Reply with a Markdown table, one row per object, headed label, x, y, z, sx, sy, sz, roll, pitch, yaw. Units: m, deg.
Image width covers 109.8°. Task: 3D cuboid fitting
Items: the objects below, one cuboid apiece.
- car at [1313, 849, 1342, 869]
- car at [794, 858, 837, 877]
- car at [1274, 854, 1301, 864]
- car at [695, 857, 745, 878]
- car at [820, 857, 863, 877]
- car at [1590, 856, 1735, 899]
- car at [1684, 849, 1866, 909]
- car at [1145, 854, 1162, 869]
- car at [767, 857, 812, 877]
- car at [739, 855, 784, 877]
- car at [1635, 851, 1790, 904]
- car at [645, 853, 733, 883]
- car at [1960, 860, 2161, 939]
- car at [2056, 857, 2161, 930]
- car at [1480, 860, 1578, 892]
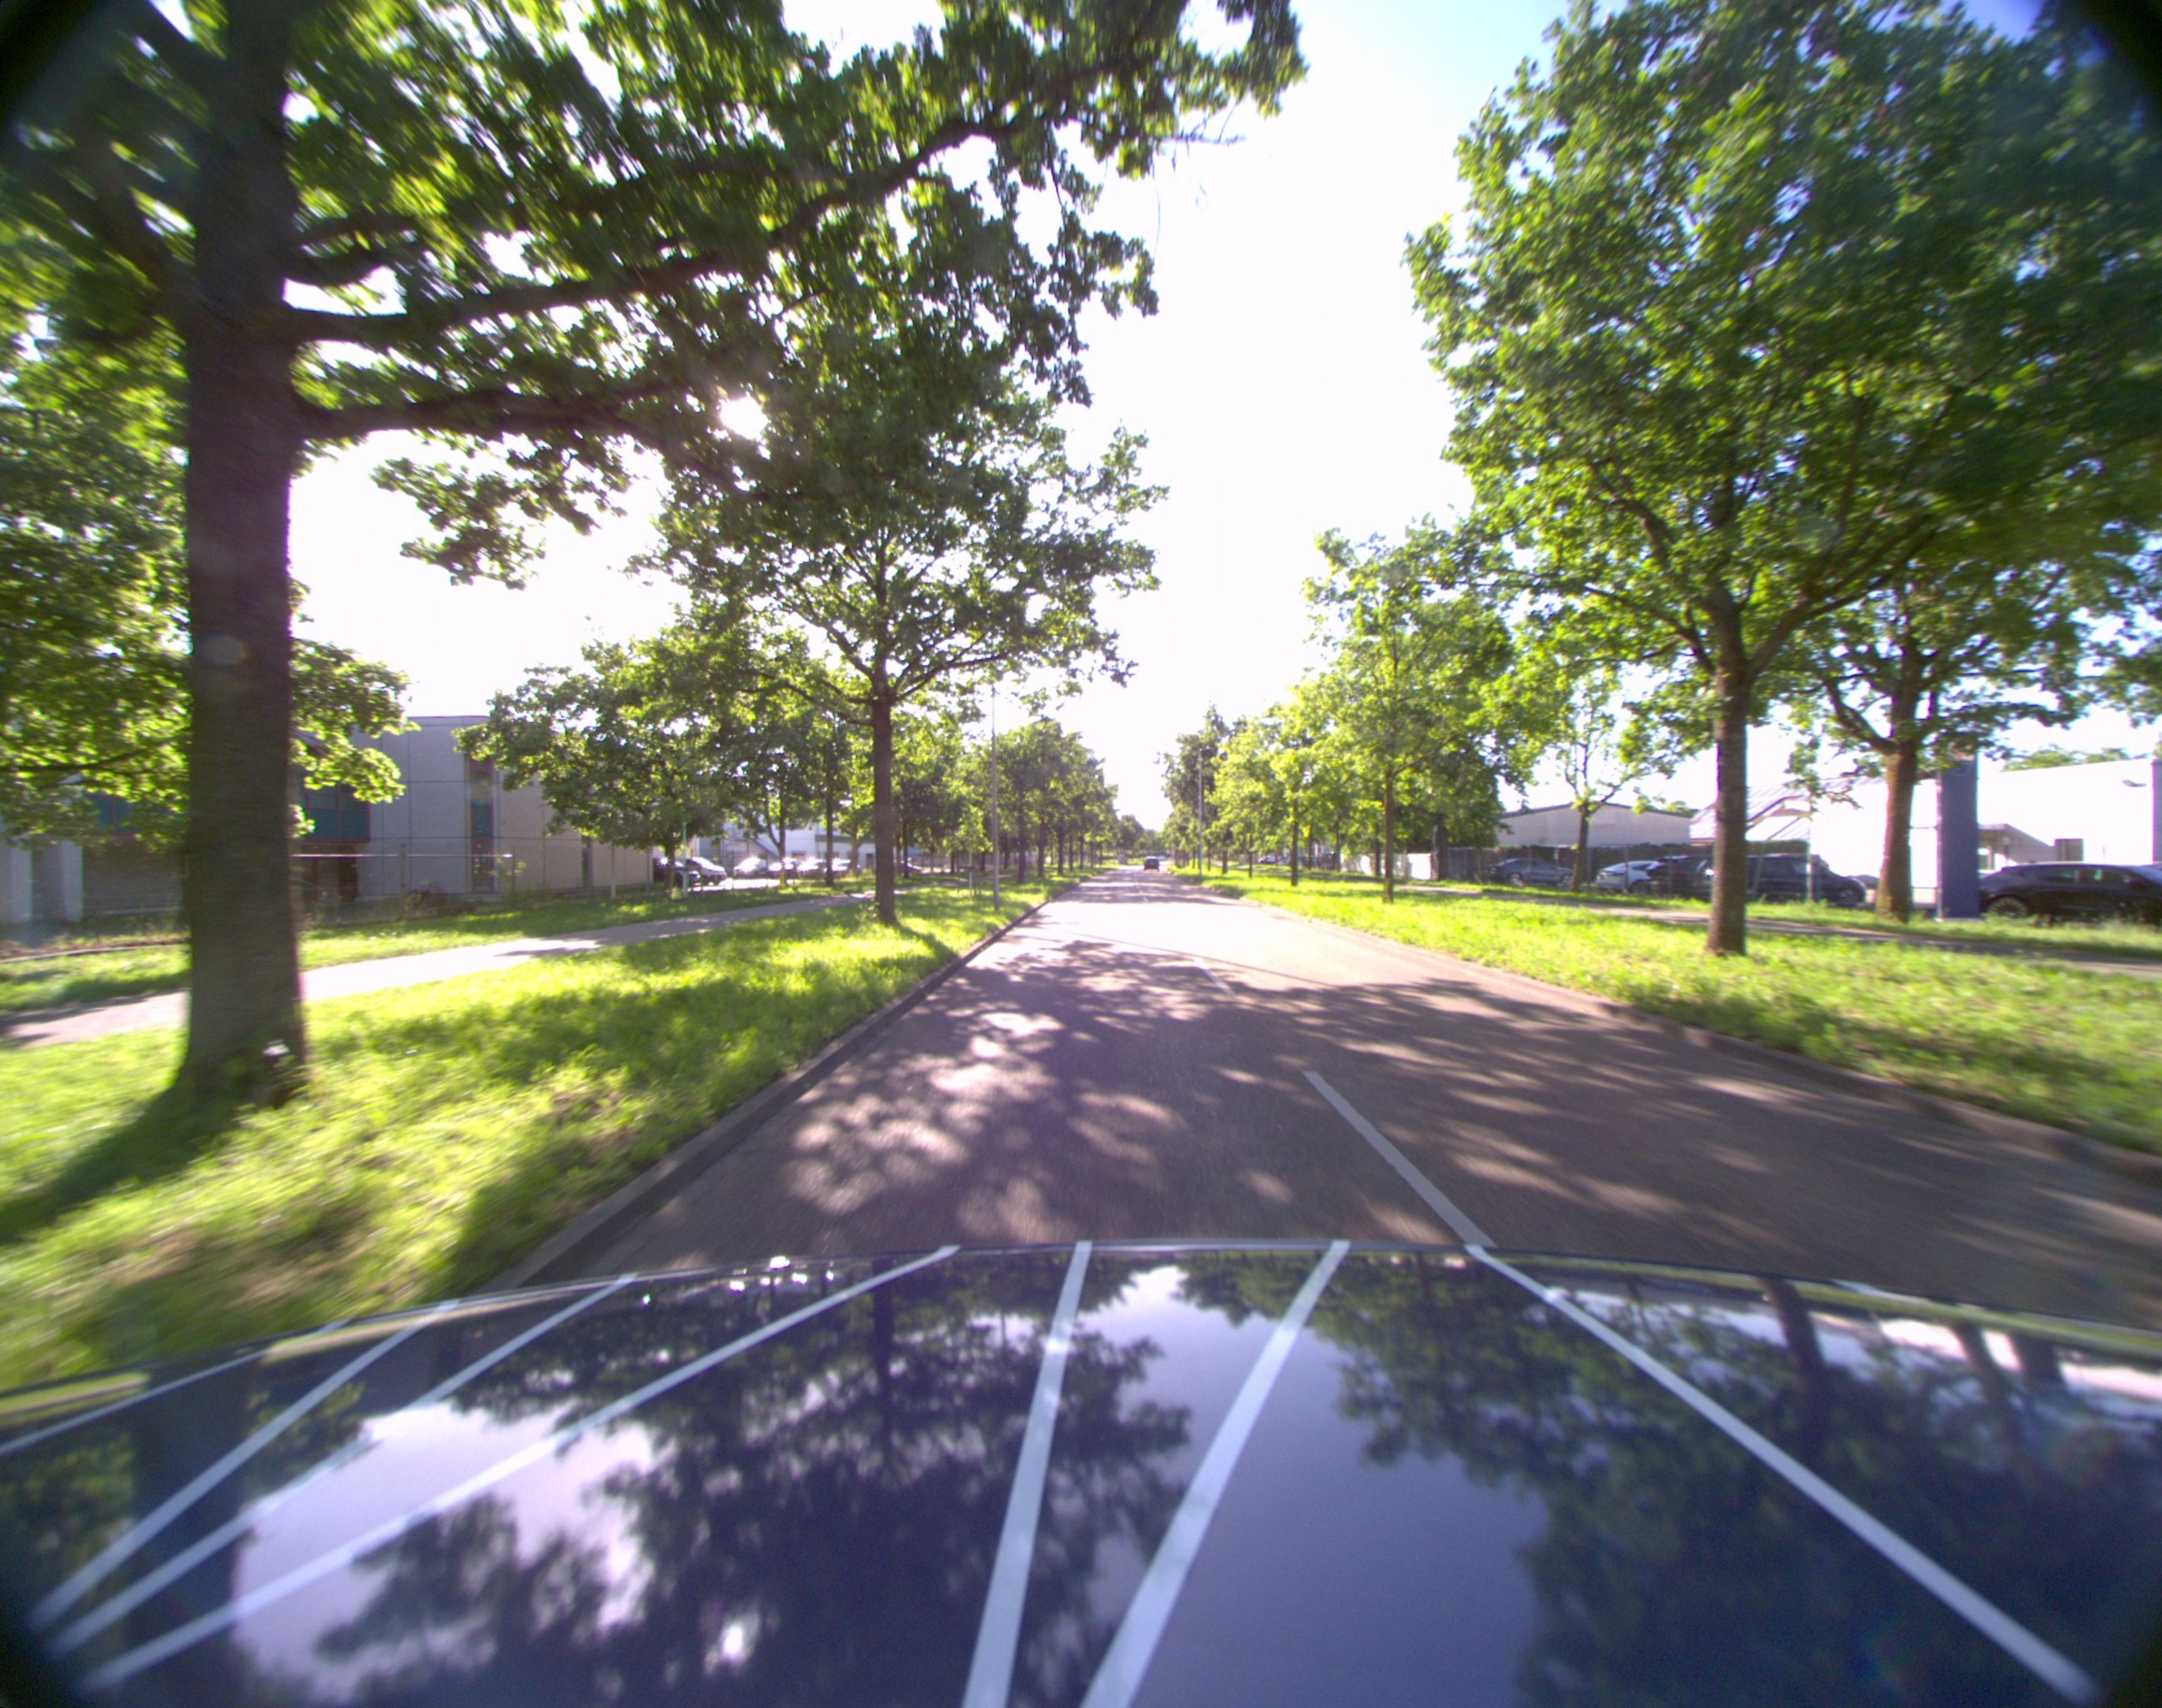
| label | x | y | z | sx | sy | sz | roll | pitch | yaw |
| --- | --- | --- | --- | --- | --- | --- | --- | --- | --- |
| car | 28.313 | 0.566 | 87.459 | 1.998 | 2.162 | 5.673 | -1 | 0 | 5 |
| car | -22.857 | 1.119 | 65.657 | 1.998 | 1.550 | 4.456 | -1 | 0 | 2 |
| car | 33.734 | 0.772 | 124.022 | 3.884 | 1.493 | 2.003 | -2 | 1 | 25 |
| car | -31.883 | 1.179 | 67.245 | 1.697 | 1.646 | 4.459 | -2 | 0 | 9 |
| car | -20.350 | 1.077 | 64.863 | 1.998 | 1.597 | 4.716 | 0 | 1 | 2 |
| car | 23.438 | 0.935 | 30.738 | 4.320 | 1.510 | 1.862 | -2 | 1 | 4 |
| car | 22.642 | 0.783 | 24.953 | 3.995 | 1.732 | 2.001 | -2 | 1 | 5 |
| car | 8.376 | 0.872 | 88.202 | 1.771 | 1.663 | 4.200 | 1 | 1 | 3 |
| car | -24.894 | 1.066 | 64.984 | 1.998 | 1.663 | 4.456 | -1 | 0 | 2 |
| car | -27.552 | 1.011 | 65.758 | 1.999 | 1.663 | 4.455 | -2 | 0 | -1 |
| car | 23.032 | 0.839 | 27.839 | 3.996 | 1.736 | 1.862 | -2 | 1 | 4 |
| car | -27.025 | 0.939 | 52.499 | 5.076 | 1.948 | 1.894 | 0 | 1 | -1 |
| car | 24.920 | 1.039 | 18.283 | 2.001 | 1.665 | 4.494 | -2 | 0 | -14 |
| car | 27.948 | 0.985 | 18.228 | 2.000 | 1.707 | 5.254 | -2 | 0 | -12 |
| car | 24.307 | 1.153 | 41.349 | 3.996 | 1.510 | 2.199 | -2 | 1 | 4 |
